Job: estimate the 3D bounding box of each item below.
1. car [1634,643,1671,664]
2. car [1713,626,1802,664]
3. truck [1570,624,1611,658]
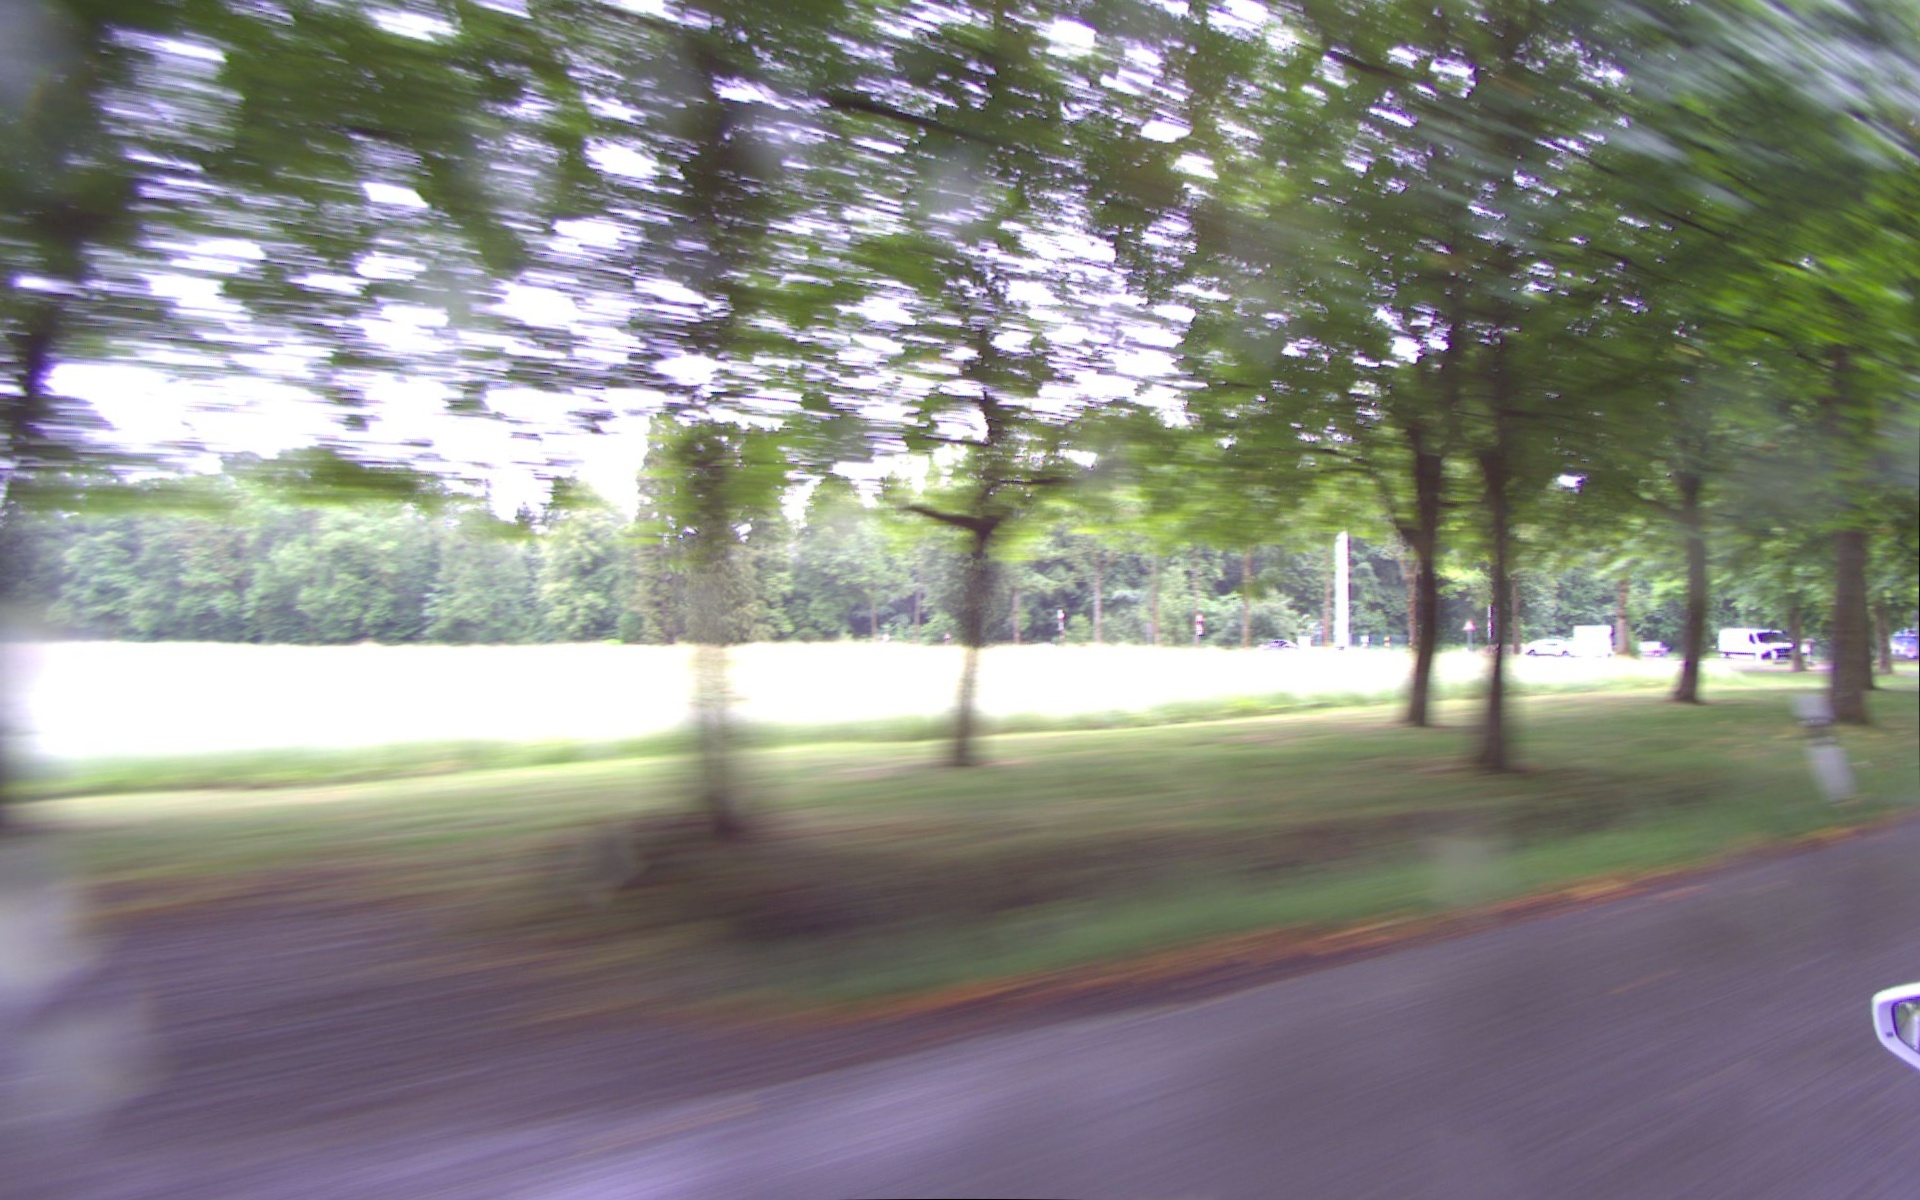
[{"bbox_3d":[49.471,3.804,71.750,1.743,1.448,4.087,-1,-3,41],"label":"car"},{"bbox_3d":[55.596,3.145,70.161,2.344,2.439,5.989,2,-2,11],"label":"car"},{"bbox_3d":[46.389,3.007,73.912,1.851,2.475,3.328,-1,-2,45],"label":"truck"}]
